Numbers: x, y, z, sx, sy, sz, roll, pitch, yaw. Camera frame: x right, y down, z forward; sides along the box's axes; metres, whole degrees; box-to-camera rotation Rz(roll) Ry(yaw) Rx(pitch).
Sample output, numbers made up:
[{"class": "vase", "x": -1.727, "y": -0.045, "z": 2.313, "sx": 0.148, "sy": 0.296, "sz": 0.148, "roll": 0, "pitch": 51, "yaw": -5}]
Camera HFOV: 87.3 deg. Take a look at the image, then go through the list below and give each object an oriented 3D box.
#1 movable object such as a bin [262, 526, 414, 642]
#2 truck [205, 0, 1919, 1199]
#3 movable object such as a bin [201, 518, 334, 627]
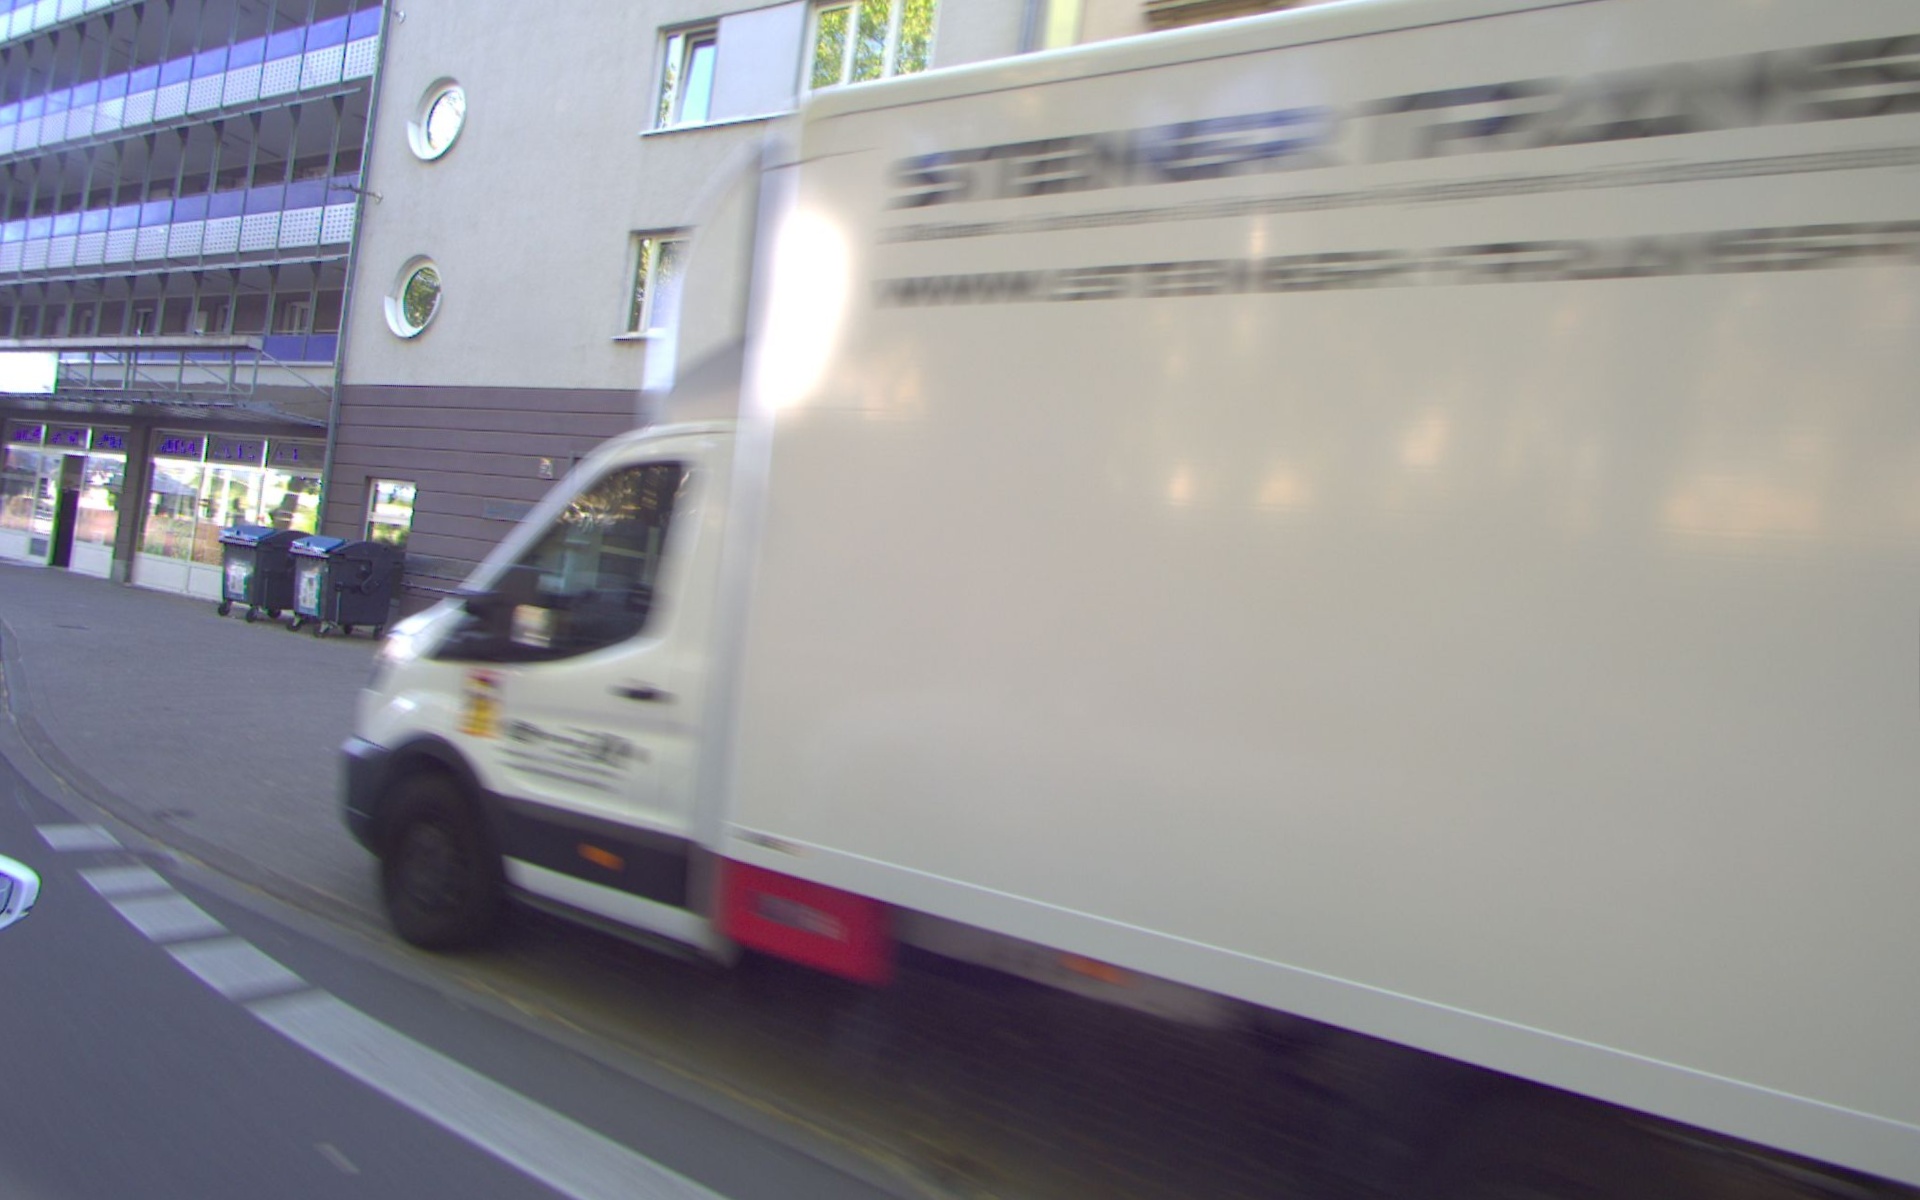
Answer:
[{"class": "movable object such as a bin", "x": -9.201, "y": -0.230, "z": 14.909, "sx": 1.567, "sy": 1.503, "sz": 1.188, "roll": 7, "pitch": 1, "yaw": 28}, {"class": "truck", "x": 0.525, "y": 0.083, "z": 3.832, "sx": 7.070, "sy": 3.382, "sz": 2.541, "roll": 7, "pitch": 2, "yaw": 28}, {"class": "movable object such as a bin", "x": -10.806, "y": -0.422, "z": 15.721, "sx": 1.363, "sy": 1.503, "sz": 1.112, "roll": 7, "pitch": 1, "yaw": 28}]
